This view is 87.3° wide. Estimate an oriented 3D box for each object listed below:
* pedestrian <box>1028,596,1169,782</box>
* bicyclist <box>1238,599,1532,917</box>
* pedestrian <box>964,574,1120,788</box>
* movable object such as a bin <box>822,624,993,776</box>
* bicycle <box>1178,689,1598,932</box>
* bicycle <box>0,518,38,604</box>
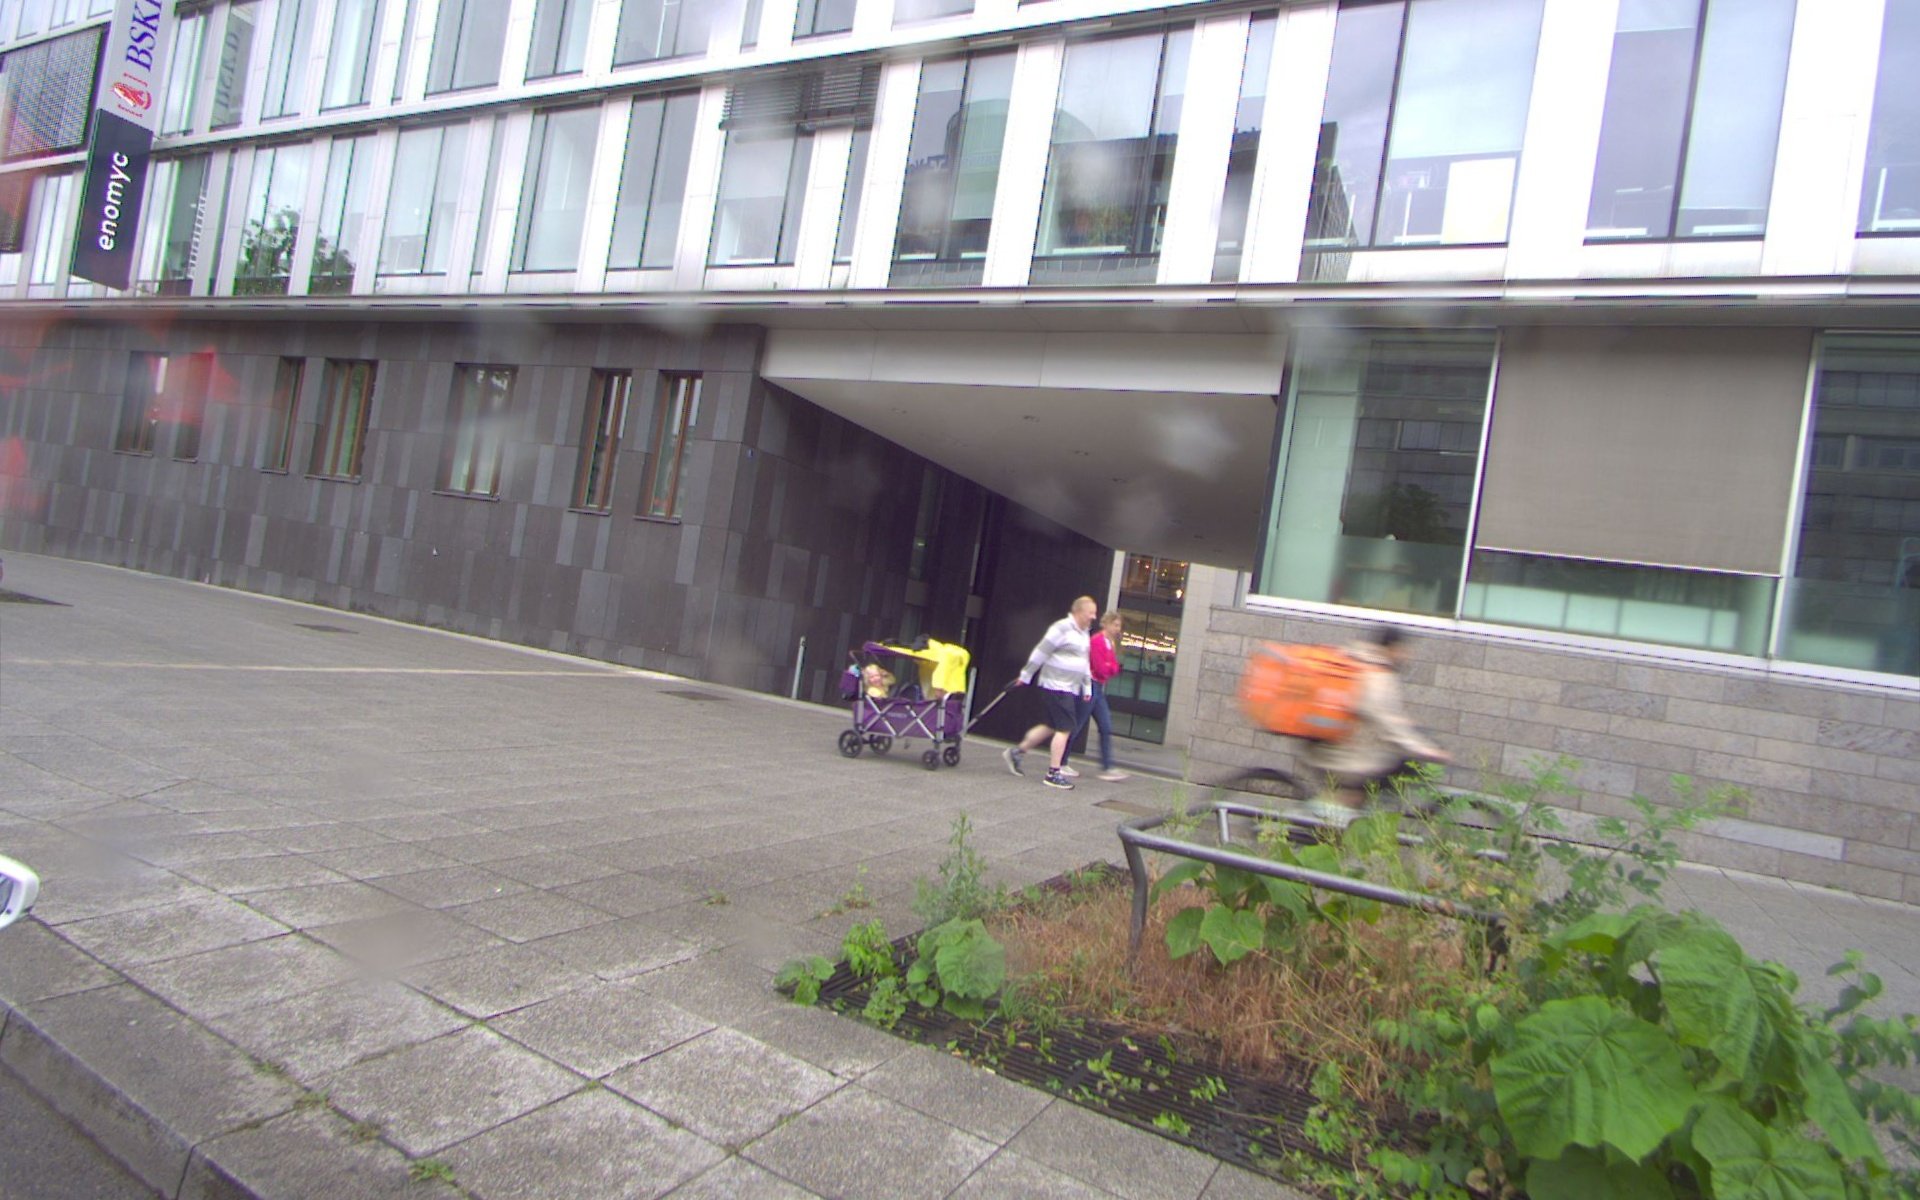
[{"bbox_3d":[1.437,0.888,10.371,1.080,1.712,0.719,7,1,26],"label":"pedestrian"},{"bbox_3d":[2.511,0.911,6.082,1.116,1.598,1.015,9,-4,-5],"label":"bicyclist"},{"bbox_3d":[0.791,0.739,9.561,1.028,1.814,0.901,7,1,26],"label":"pedestrian"},{"bbox_3d":[-0.524,0.962,10.016,1.420,1.280,0.732,6,0,29],"label":"movable object such as a bin"},{"bbox_3d":[2.508,1.224,6.082,2.031,1.126,1.012,6,-2,-6],"label":"bicycle"},{"bbox_3d":[-13.068,-0.637,12.256,0.665,1.069,2.543,7,-2,27],"label":"bicycle"}]
